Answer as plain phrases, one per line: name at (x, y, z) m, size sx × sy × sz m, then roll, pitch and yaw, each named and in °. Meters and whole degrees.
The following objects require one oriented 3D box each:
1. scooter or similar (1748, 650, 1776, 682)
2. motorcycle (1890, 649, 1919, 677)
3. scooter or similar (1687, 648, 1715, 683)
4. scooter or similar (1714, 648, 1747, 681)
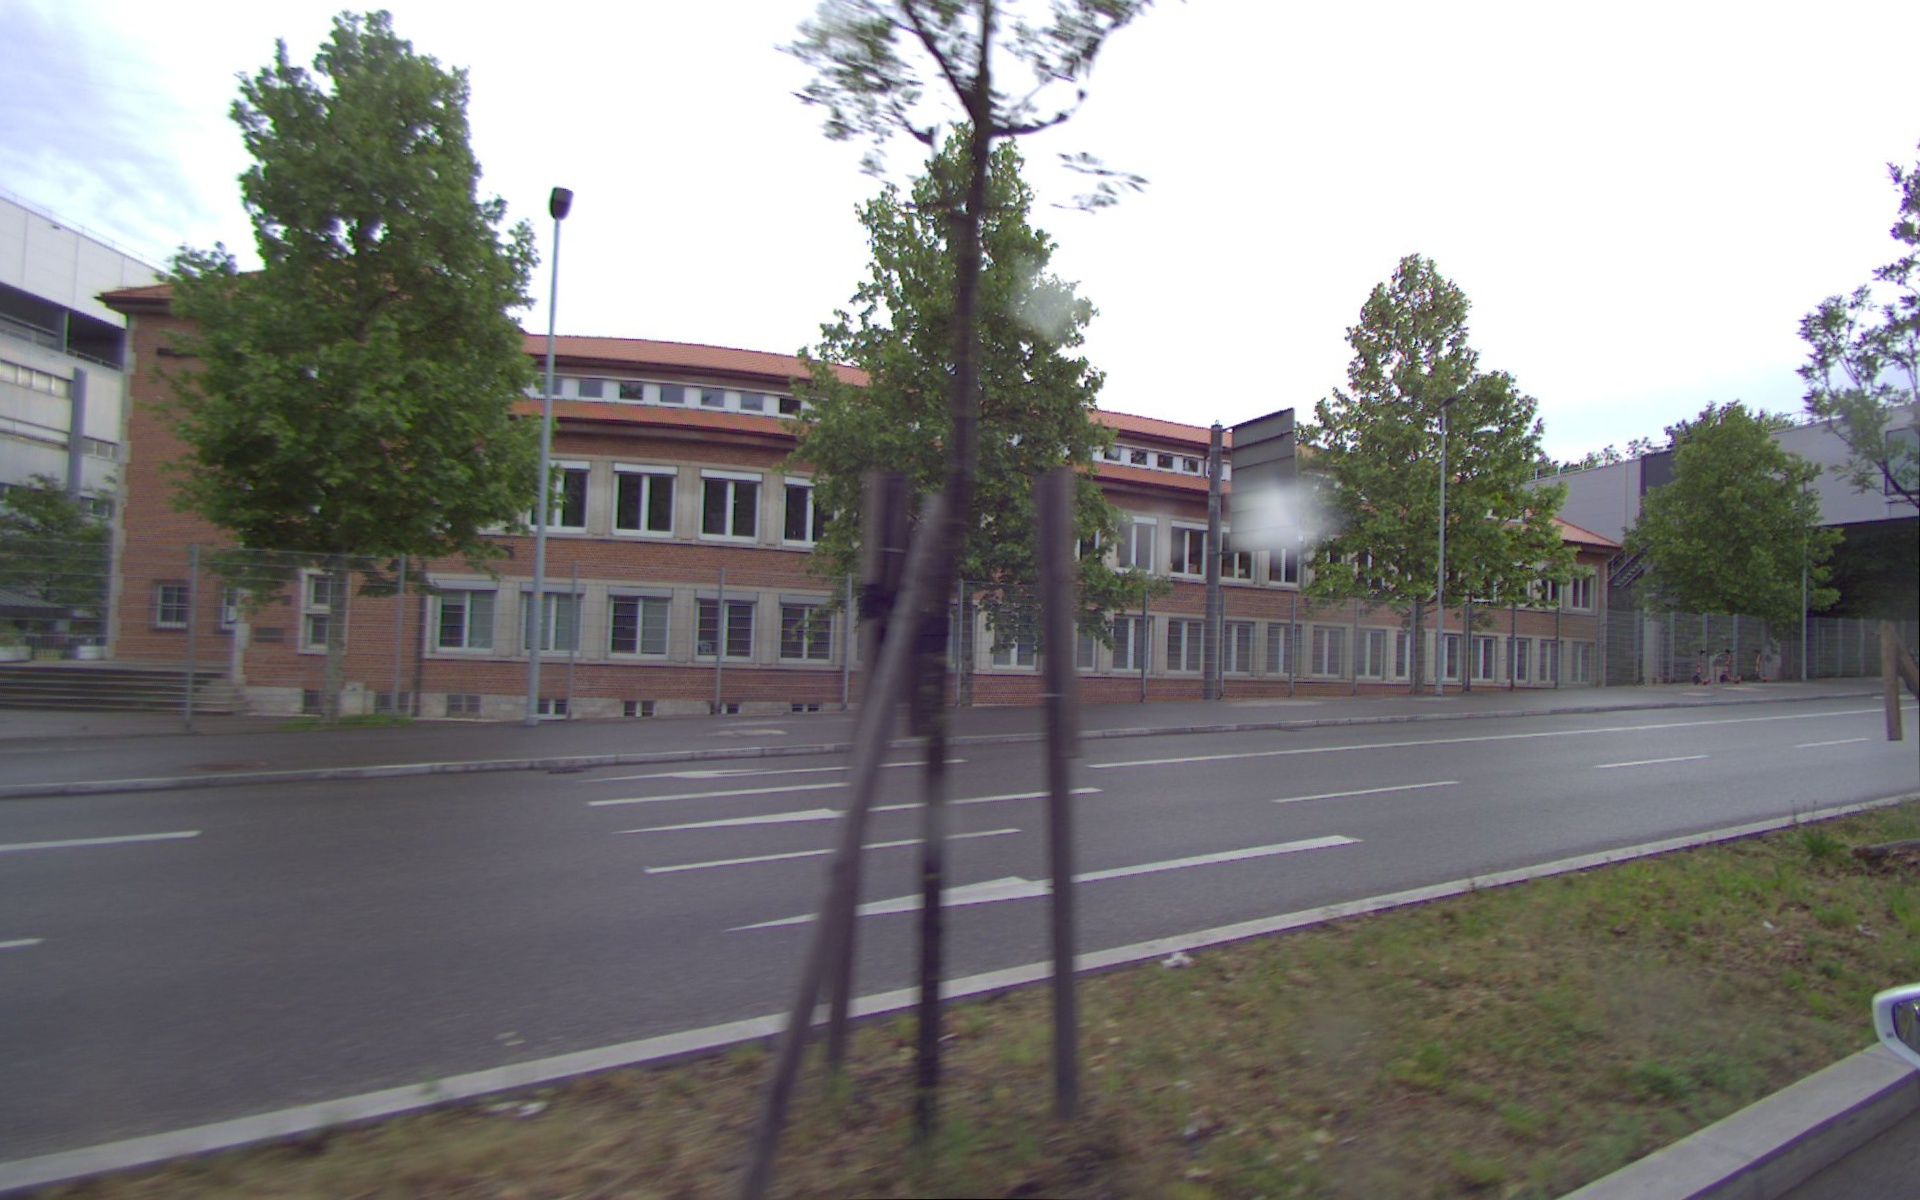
scooter or similar at (30.945, 2.547, 38.748) m, size 1.290 × 1.234 × 0.310 m, roll 1°, pitch -2°, yaw -26°
motorcycle at (43.484, 2.892, 46.211) m, size 1.973 × 1.220 × 0.466 m, roll 1°, pitch -2°, yaw -31°
scooter or similar at (26.788, 2.345, 36.295) m, size 1.292 × 1.234 × 0.310 m, roll 1°, pitch -2°, yaw -31°
scooter or similar at (28.805, 2.411, 37.556) m, size 1.287 × 1.234 × 0.311 m, roll 1°, pitch -2°, yaw -19°
